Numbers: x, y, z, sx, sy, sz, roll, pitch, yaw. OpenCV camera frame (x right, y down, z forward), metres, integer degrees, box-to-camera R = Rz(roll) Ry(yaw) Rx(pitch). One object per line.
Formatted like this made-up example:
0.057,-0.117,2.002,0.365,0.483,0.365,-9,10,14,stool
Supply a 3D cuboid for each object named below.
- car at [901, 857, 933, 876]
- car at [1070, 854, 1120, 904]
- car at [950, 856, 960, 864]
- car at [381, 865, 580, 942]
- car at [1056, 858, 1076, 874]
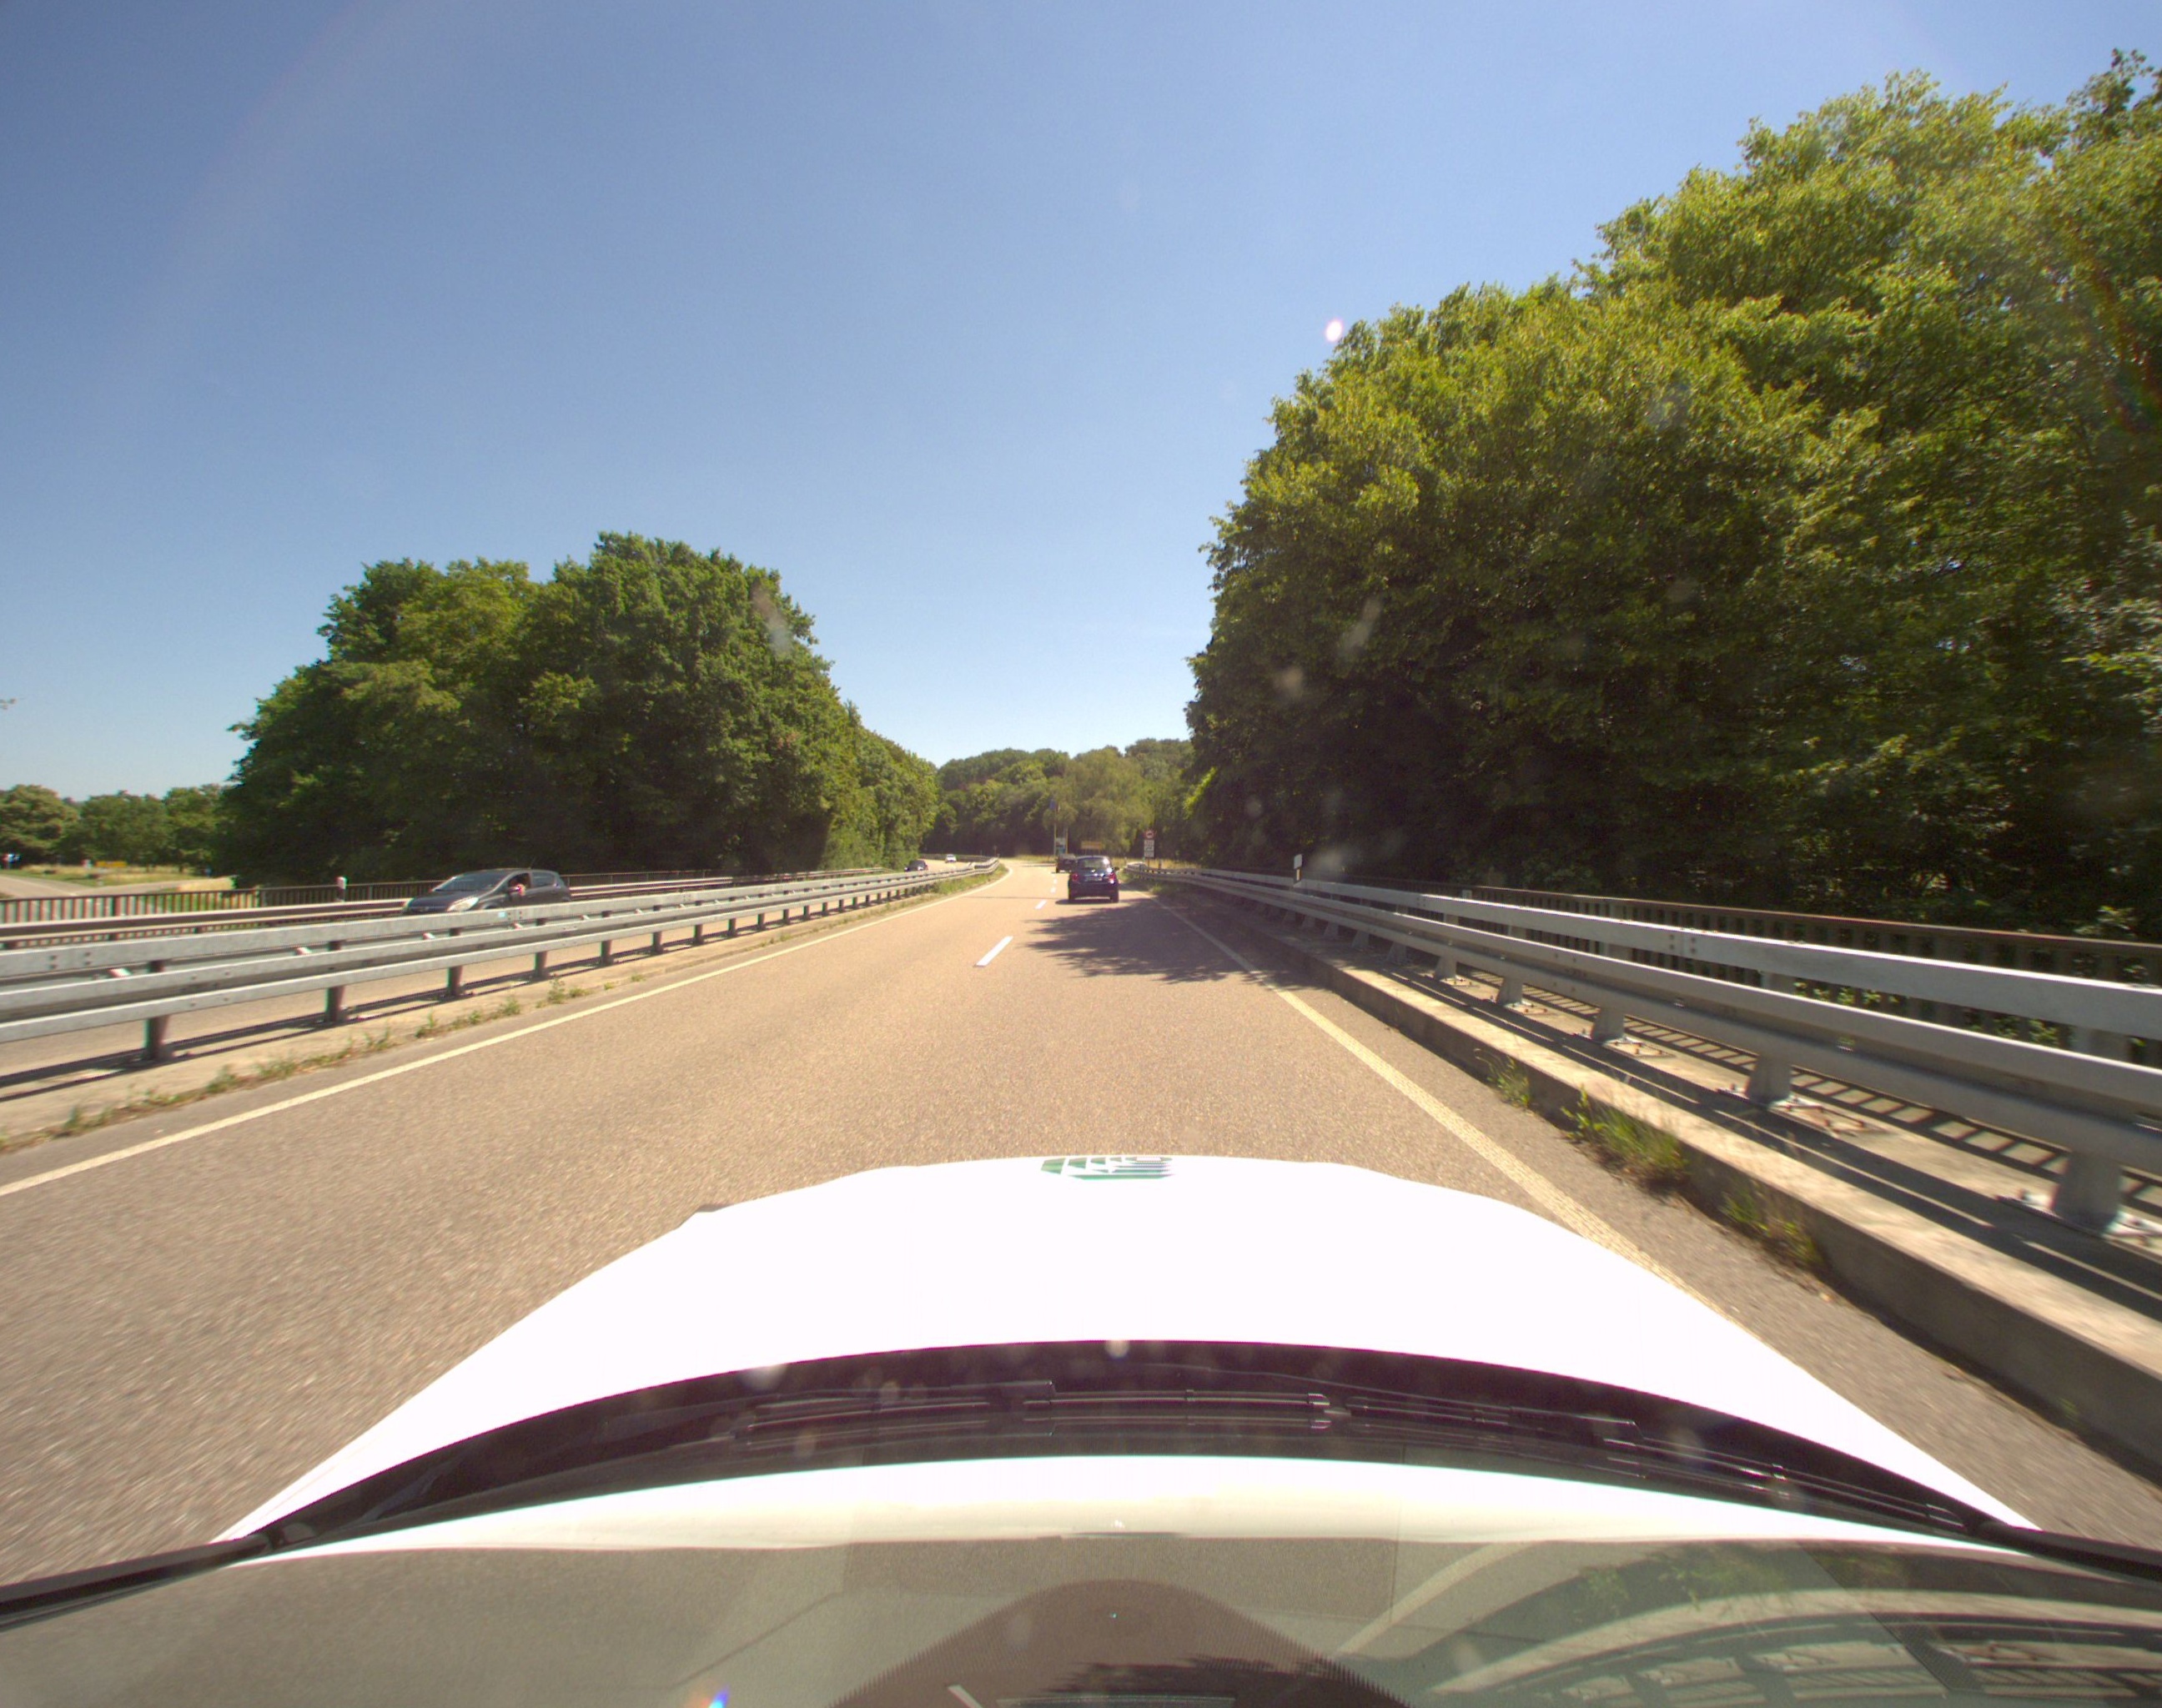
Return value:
-14.605,1.078,72.716,1.749,1.528,4.685,-1,0,1,car
0.511,0.764,26.805,1.507,1.501,3.592,-1,0,2,car
-24.709,1.170,159.120,1.757,1.573,4.396,-1,0,-11,car
-13.892,1.082,19.174,1.645,1.528,3.999,-1,0,1,car
-1.356,1.040,71.650,1.522,1.313,3.409,-1,0,-5,car
